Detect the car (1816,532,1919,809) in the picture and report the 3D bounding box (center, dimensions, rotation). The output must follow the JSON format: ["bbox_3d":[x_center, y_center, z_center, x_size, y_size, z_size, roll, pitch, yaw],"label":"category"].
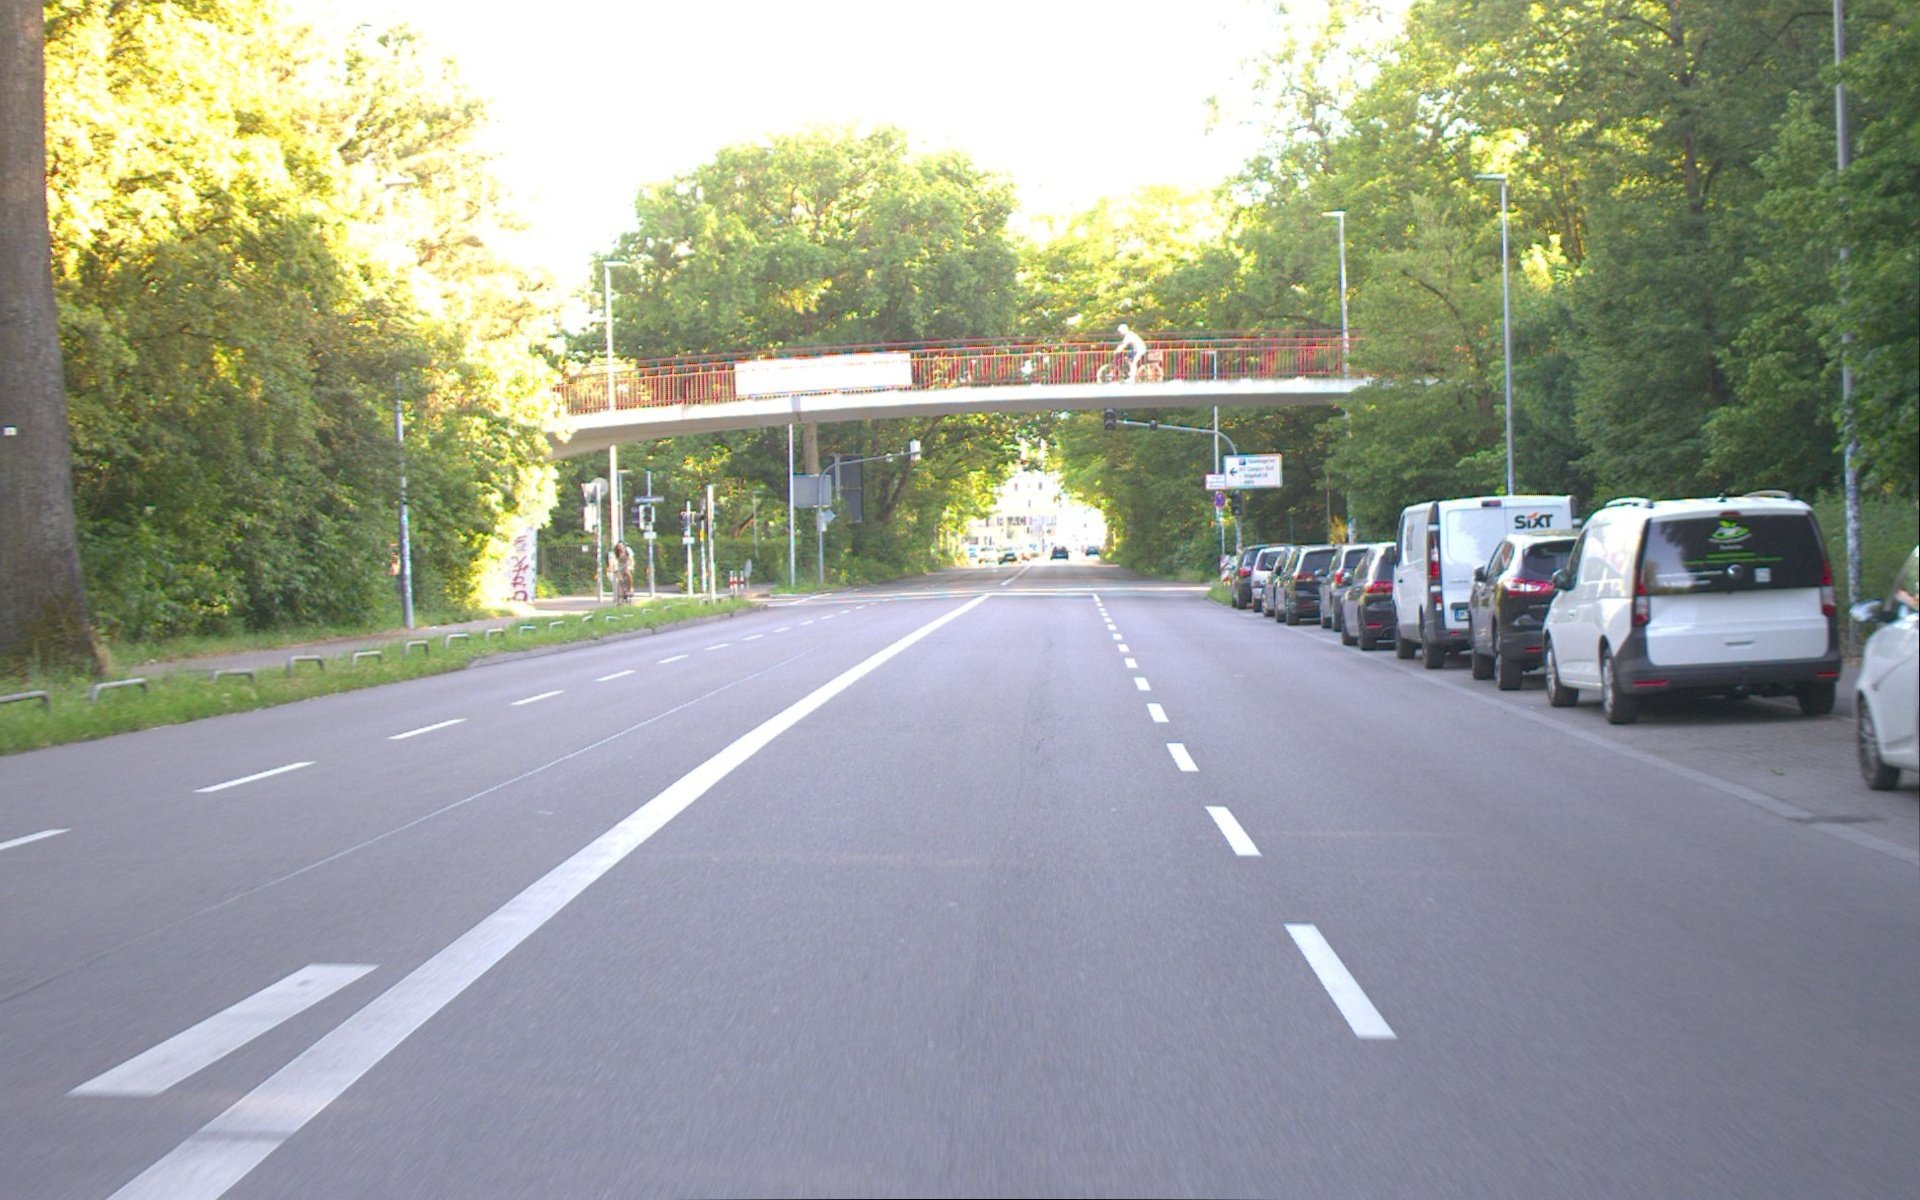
[{"bbox_3d":[5.997,0.345,19.540,1.586,1.490,3.180,-1,1,3],"label":"car"}]

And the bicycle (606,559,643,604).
[{"bbox_3d":[-8.631,-0.469,88.448,0.712,1.143,1.993,1,0,1],"label":"bicycle"}]

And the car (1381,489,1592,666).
[{"bbox_3d":[6.350,-0.281,42.033,1.869,1.974,5.474,-1,1,2],"label":"car"}]

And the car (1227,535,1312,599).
[{"bbox_3d":[7.366,-0.786,82.134,1.774,1.449,4.387,-1,1,2],"label":"car"}]

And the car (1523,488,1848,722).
[{"bbox_3d":[6.090,0.014,29.385,1.759,1.798,4.737,-1,1,0],"label":"car"}]

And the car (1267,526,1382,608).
[{"bbox_3d":[6.826,-0.626,64.808,1.637,1.449,4.898,-1,1,0],"label":"car"}]

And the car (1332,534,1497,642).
[{"bbox_3d":[6.376,-0.185,48.630,1.869,1.401,4.369,-1,1,2],"label":"car"}]

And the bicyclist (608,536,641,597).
[{"bbox_3d":[-8.629,-0.851,88.447,0.712,1.553,1.143,1,0,1],"label":"bicyclist"}]

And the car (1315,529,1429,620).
[{"bbox_3d":[6.971,-0.445,58.436,1.586,1.449,3.943,-1,1,2],"label":"car"}]

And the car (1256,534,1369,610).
[{"bbox_3d":[7.163,-0.572,70.235,1.774,1.449,5.038,-1,1,0],"label":"car"}]

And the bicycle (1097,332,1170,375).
[{"bbox_3d":[4.871,-6.917,96.640,1.987,1.143,0.714,1,0,0],"label":"bicycle"}]

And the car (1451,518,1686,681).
[{"bbox_3d":[6.246,-0.033,35.710,1.759,1.542,4.428,-1,1,2],"label":"car"}]

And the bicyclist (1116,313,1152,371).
[{"bbox_3d":[4.885,-7.243,96.631,0.970,1.580,0.714,1,0,0],"label":"bicyclist"}]

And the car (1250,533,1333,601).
[{"bbox_3d":[7.464,-0.751,77.717,1.774,1.449,4.013,-1,1,5],"label":"car"}]
